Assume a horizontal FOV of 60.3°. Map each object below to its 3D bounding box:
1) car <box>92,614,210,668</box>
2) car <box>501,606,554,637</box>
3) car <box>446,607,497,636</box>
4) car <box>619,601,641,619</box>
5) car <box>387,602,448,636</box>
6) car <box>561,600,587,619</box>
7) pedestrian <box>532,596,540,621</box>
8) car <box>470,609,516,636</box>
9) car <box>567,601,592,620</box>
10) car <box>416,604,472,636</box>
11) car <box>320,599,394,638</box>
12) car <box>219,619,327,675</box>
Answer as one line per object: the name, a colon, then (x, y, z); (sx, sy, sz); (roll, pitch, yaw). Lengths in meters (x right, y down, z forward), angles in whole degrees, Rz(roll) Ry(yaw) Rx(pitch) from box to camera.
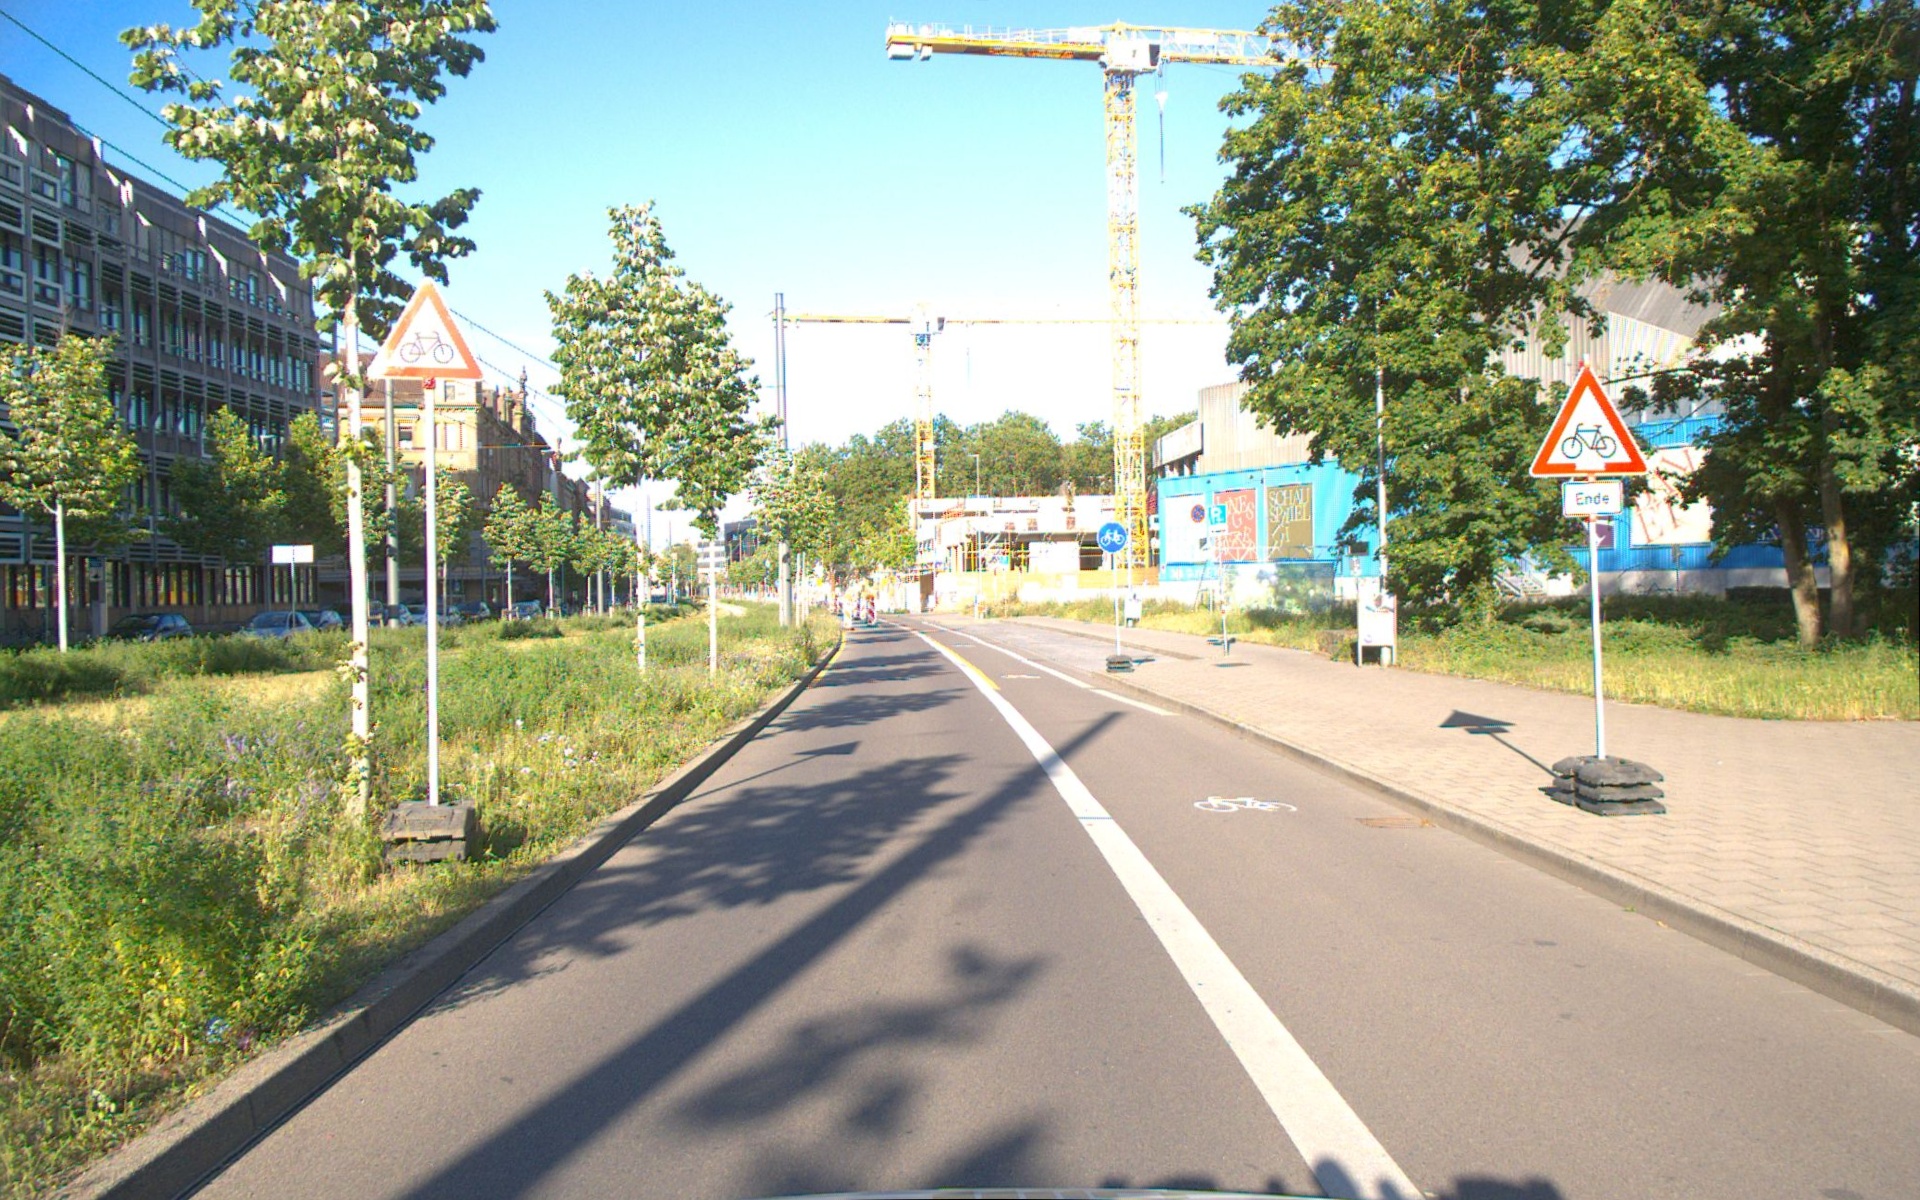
car: (-26.560, 1.315, 54.450); (1.865, 1.603, 4.299); (-2, 0, -2)
car: (-23.429, 1.144, 89.752); (1.865, 1.603, 4.299); (-2, 0, -2)
car: (-29.112, 1.259, 98.610); (1.865, 1.603, 4.299); (-2, 0, -2)
car: (-31.803, 0.961, 159.638); (1.868, 1.603, 4.292); (-2, 0, -9)
car: (-27.873, 0.960, 85.121); (1.865, 1.603, 4.299); (-2, 0, -2)
car: (-33.984, 0.830, 145.873); (1.868, 1.603, 4.292); (-2, 0, -9)
pedestrian: (-34.832, 0.694, 135.877); (0.540, 1.981, 0.648); (-1, 0, -10)
car: (-30.091, 1.438, 106.714); (1.865, 1.603, 4.299); (-2, 0, -2)
car: (-34.572, 0.938, 150.467); (1.868, 1.603, 4.292); (-2, 0, -9)
car: (-28.371, 1.090, 91.044); (1.865, 1.603, 4.299); (-2, 0, -2)
car: (-27.275, 0.812, 74.915); (1.865, 1.603, 4.299); (-2, 0, -2)
car: (-21.896, 1.465, 52.867); (1.865, 1.603, 3.998); (-2, 0, -2)
